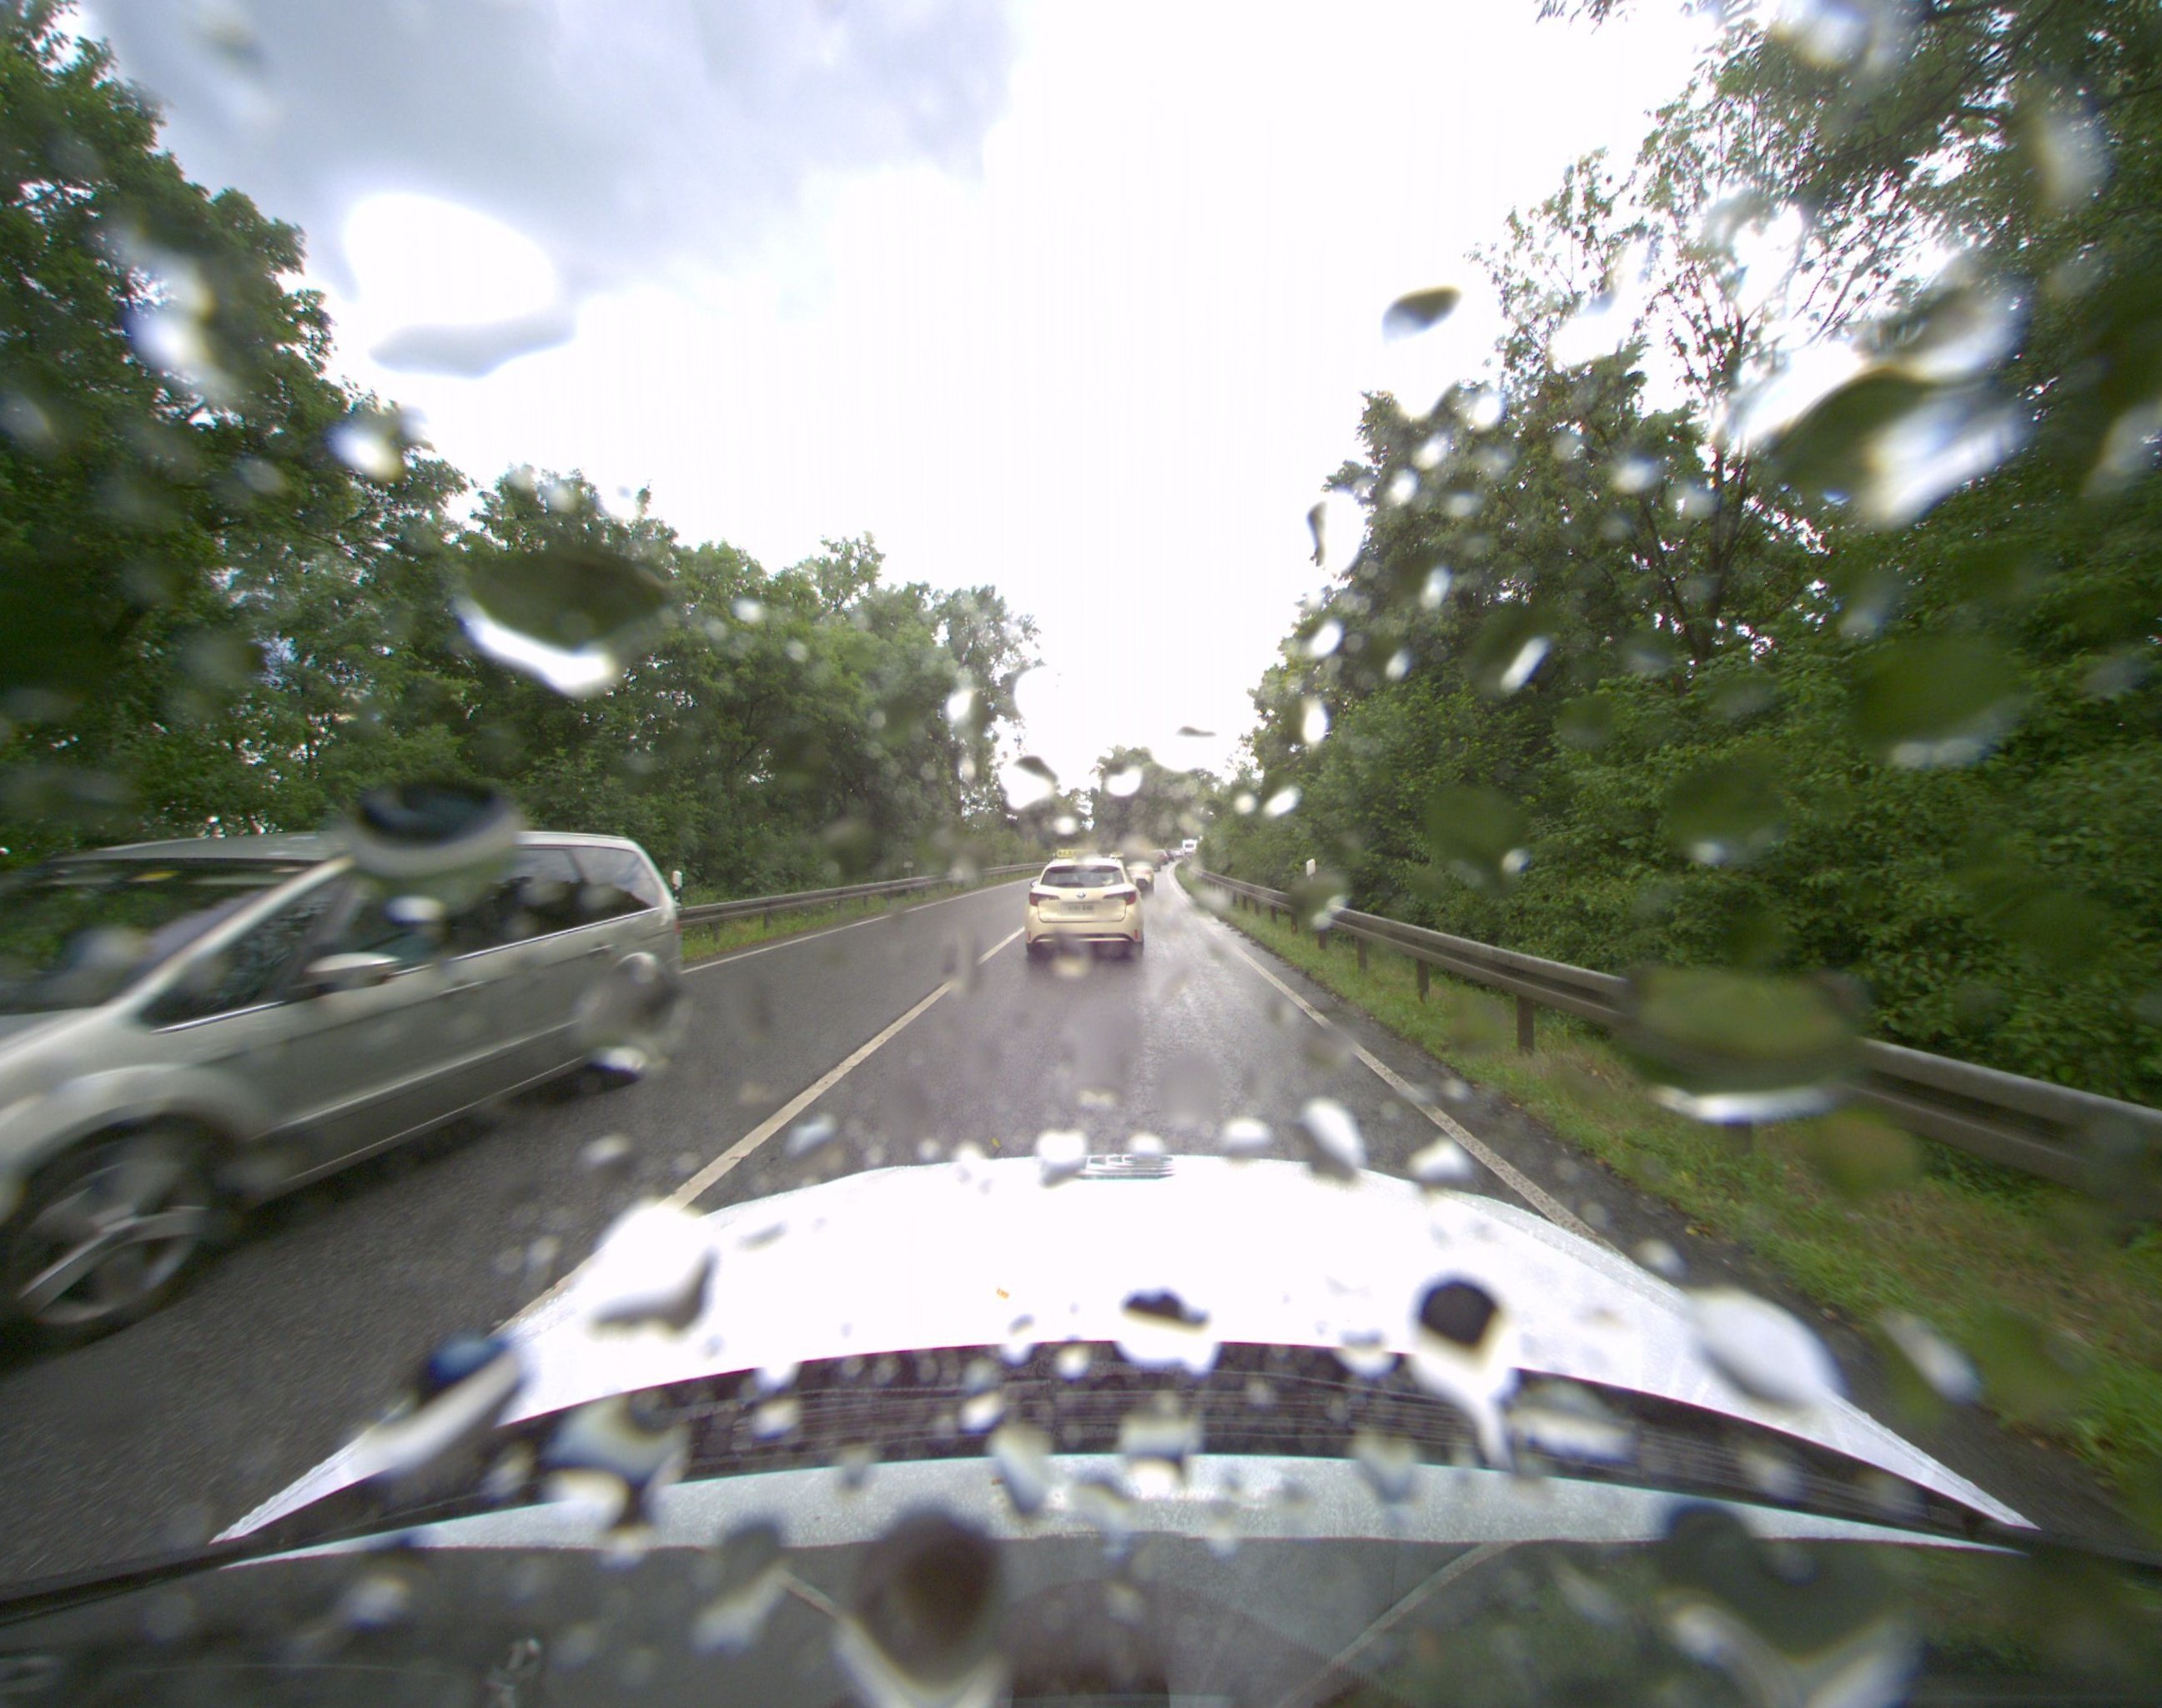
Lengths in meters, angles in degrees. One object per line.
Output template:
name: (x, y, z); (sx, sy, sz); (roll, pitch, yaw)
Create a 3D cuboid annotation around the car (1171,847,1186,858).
car: (13.614, -0.197, 113.449); (1.758, 1.547, 3.826); (-1, -1, 11)

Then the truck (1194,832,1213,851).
truck: (25.399, -2.532, 168.883); (3.085, 3.680, 7.026); (-1, -1, 14)

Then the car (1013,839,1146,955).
car: (0.105, 0.618, 13.319); (1.826, 1.580, 4.160); (-1, -1, 3)

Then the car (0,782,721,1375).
car: (-3.901, 0.668, 4.268); (1.808, 1.686, 4.625); (0, -1, 2)

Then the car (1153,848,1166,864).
car: (7.745, 0.214, 80.165); (1.160, 1.547, 2.610); (-1, -1, 8)

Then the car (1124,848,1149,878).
car: (3.005, 0.493, 44.260); (1.295, 1.547, 3.262); (-1, -1, 3)

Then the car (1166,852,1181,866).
car: (10.724, 0.602, 94.377); (1.606, 1.613, 3.630); (-1, -1, 9)

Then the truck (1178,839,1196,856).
truck: (18.093, -1.071, 138.940); (2.538, 2.713, 7.543); (-1, -1, 4)

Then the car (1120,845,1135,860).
car: (6.481, -0.176, 112.797); (1.984, 2.014, 4.005); (-1, -1, 5)

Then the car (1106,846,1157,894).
car: (1.835, 0.561, 28.918); (1.660, 1.580, 3.897); (-1, -1, 5)

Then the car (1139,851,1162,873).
car: (5.170, 0.625, 60.748); (1.604, 1.547, 3.818); (-1, -1, 4)

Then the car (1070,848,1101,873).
car: (0.352, 0.422, 54.220); (1.799, 1.532, 4.210); (-1, 0, 3)
